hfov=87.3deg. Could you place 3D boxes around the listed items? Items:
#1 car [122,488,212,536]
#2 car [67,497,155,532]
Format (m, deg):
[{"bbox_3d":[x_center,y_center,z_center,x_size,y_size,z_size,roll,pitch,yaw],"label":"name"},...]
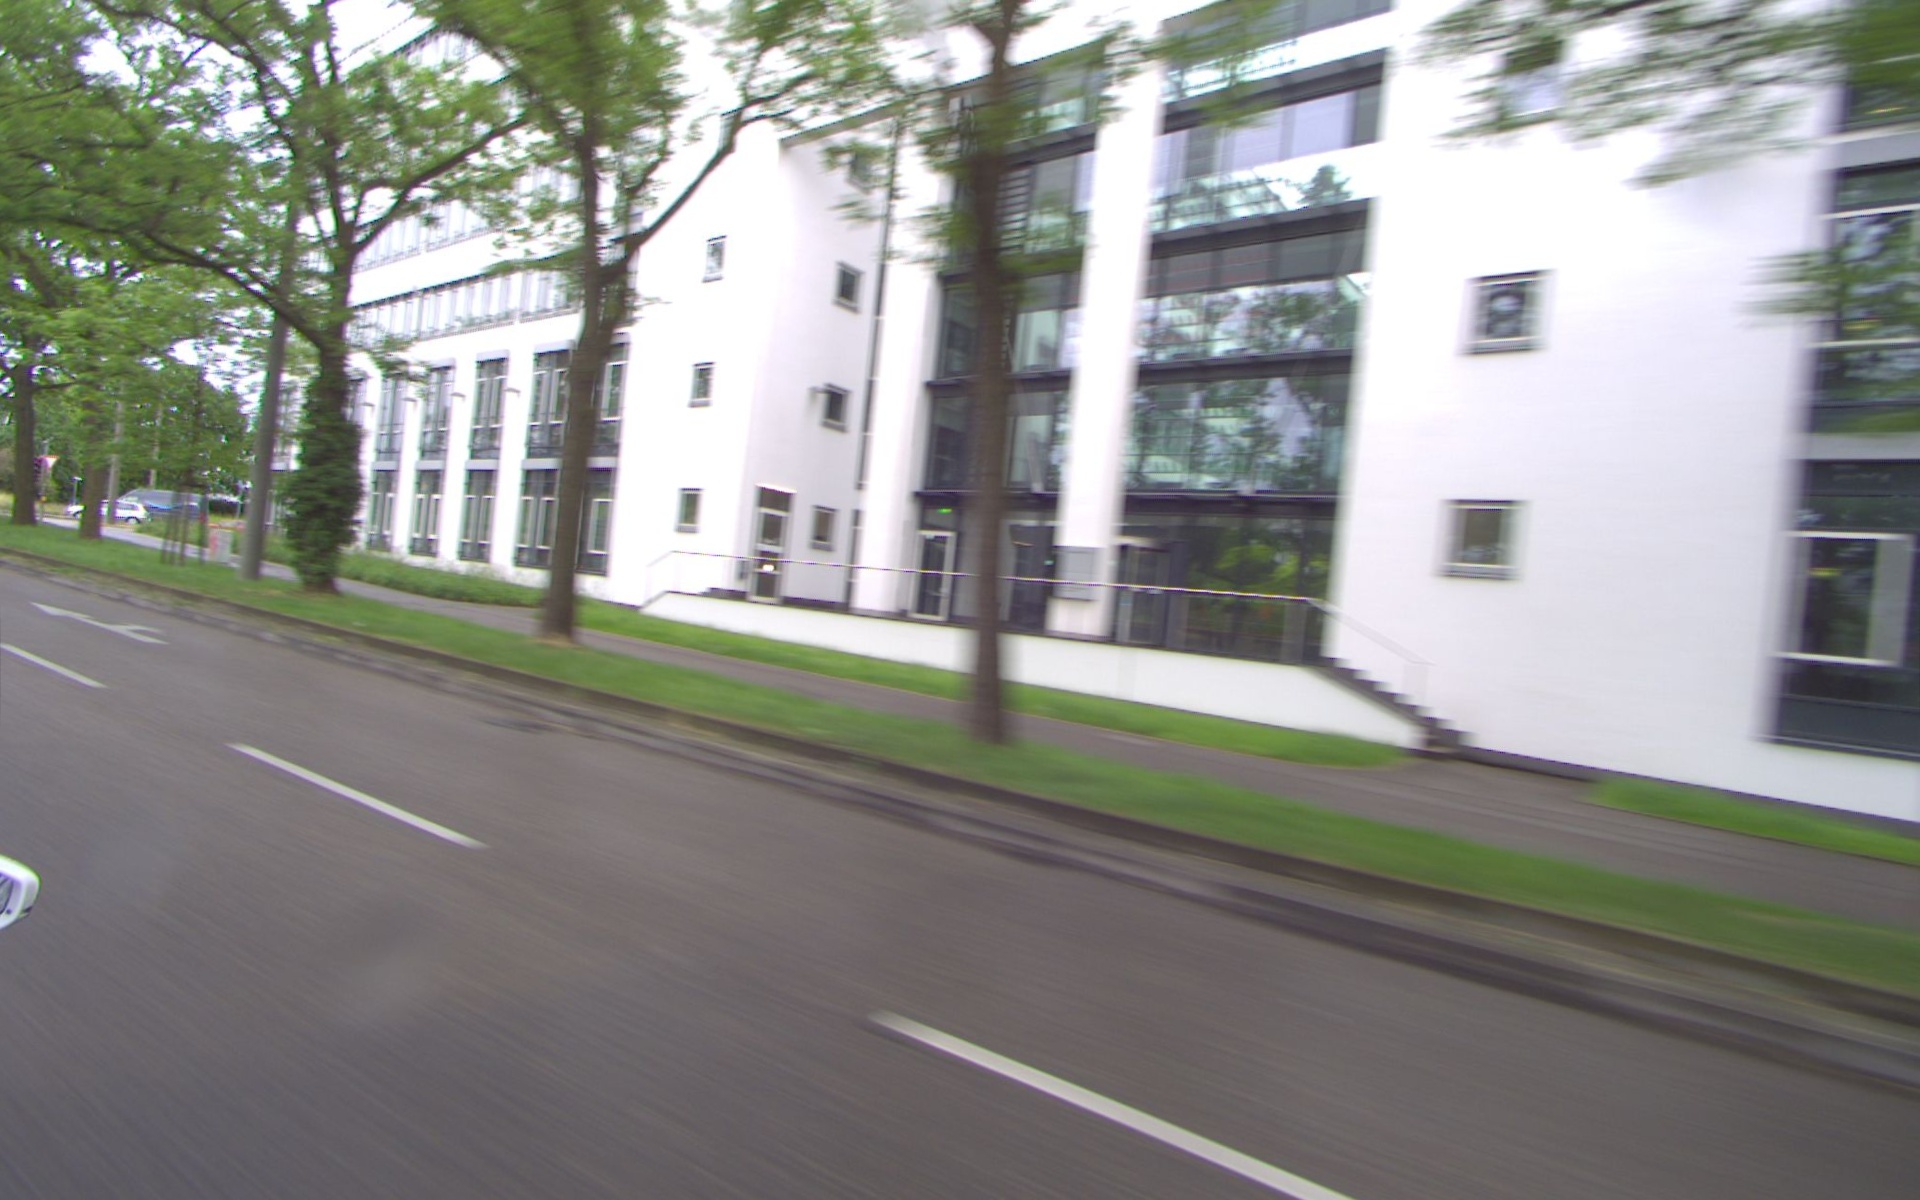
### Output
[{"bbox_3d":[-52.498,-5.783,66.717,4.206,2.596,1.986,6,1,-28],"label":"car"},{"bbox_3d":[-53.197,-5.340,63.136,3.962,1.556,1.981,6,1,-35],"label":"car"}]
